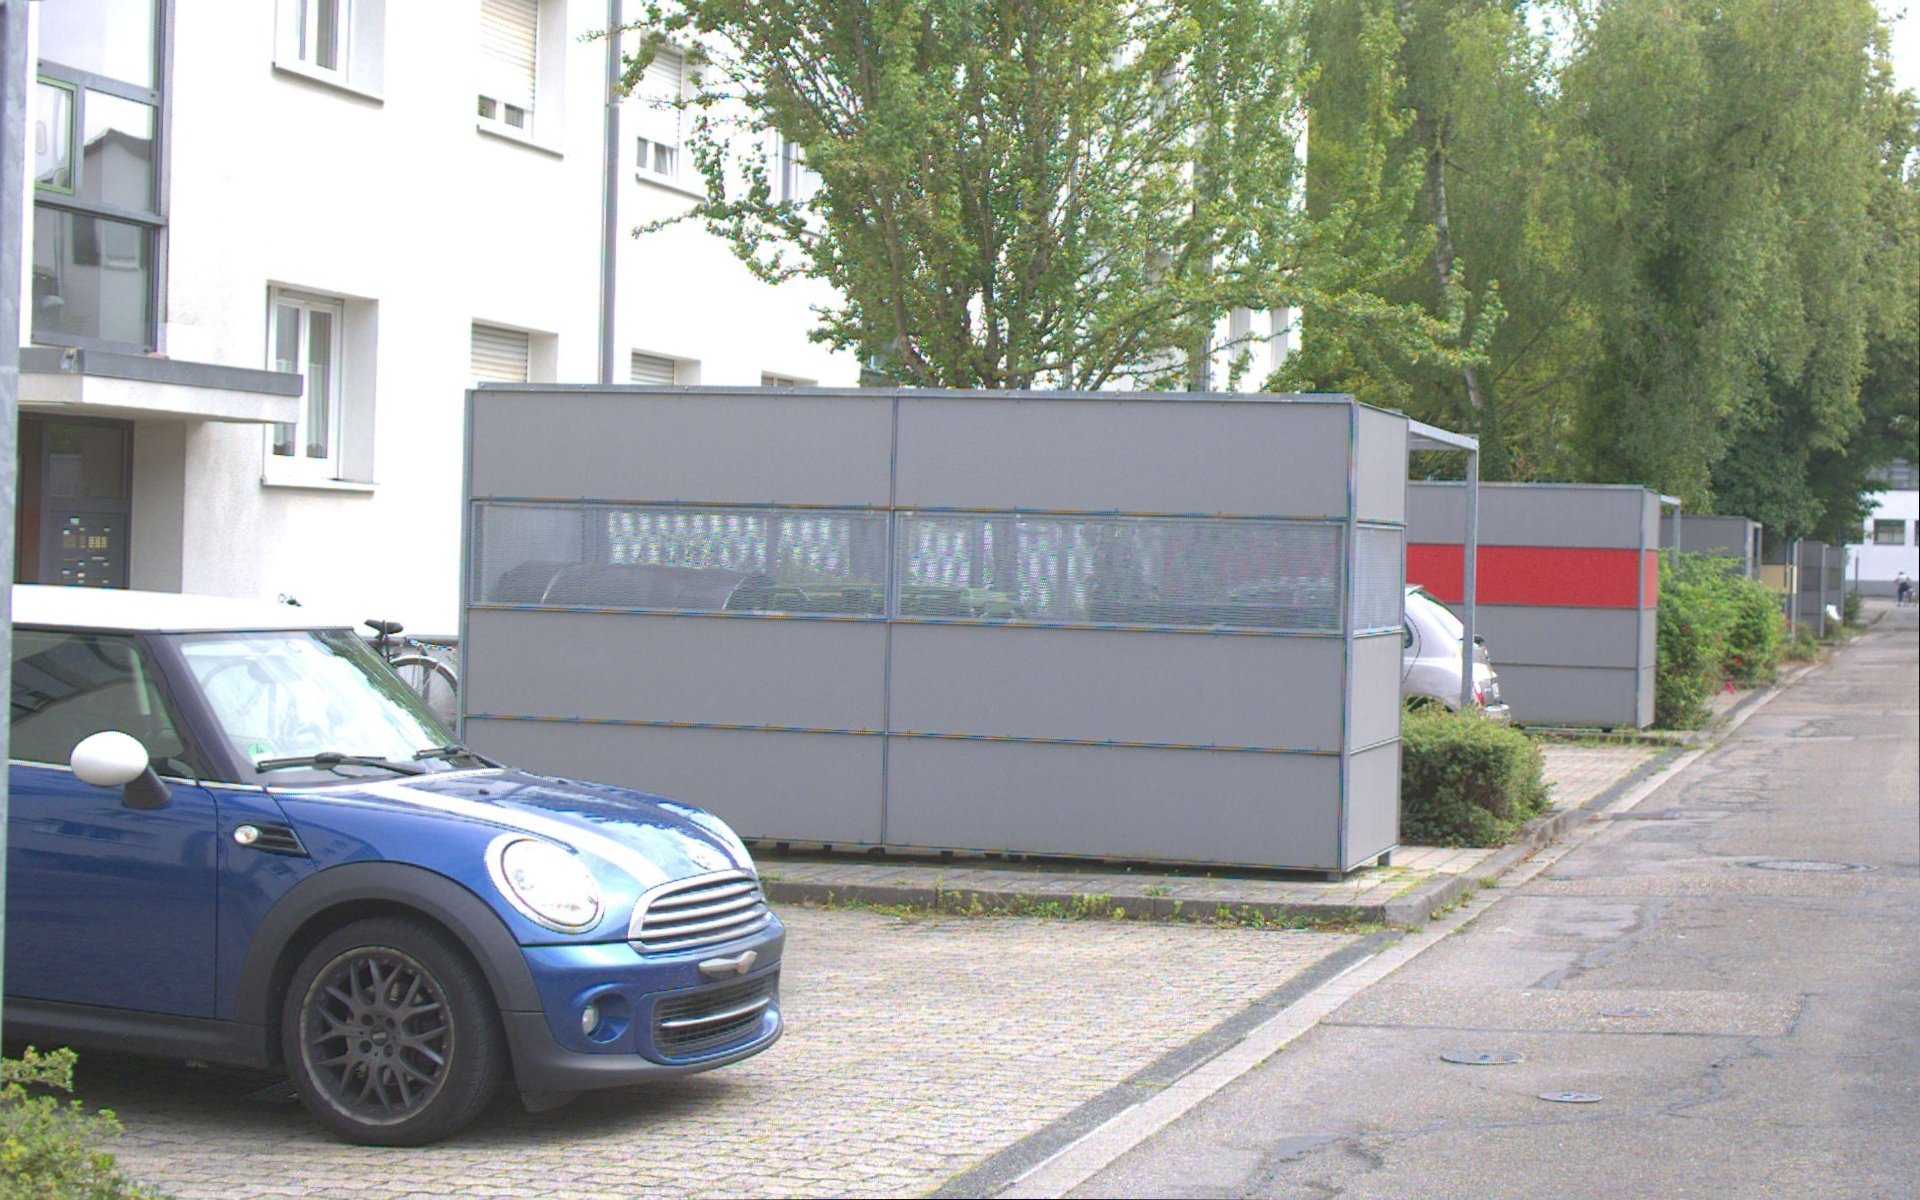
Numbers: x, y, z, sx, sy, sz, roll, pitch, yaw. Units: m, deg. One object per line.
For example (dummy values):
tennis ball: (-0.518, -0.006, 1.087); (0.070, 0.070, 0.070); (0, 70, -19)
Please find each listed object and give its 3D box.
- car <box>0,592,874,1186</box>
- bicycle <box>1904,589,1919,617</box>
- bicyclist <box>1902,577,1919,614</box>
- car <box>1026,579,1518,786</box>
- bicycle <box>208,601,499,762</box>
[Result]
car: (-2.254, 0.723, 10.101); (3.638, 1.456, 1.651); (1, 0, 20)
bicycle: (40.035, 0.126, 144.131); (0.689, 1.127, 2.577); (4, 1, 18)
bicyclist: (39.982, -0.188, 144.171); (0.799, 1.505, 0.933); (4, 1, 18)
car: (2.420, 0.595, 26.301); (3.563, 1.475, 1.710); (1, 1, 12)
bicycle: (-3.991, 0.539, 22.660); (1.804, 1.021, 0.479); (1, 1, -24)
